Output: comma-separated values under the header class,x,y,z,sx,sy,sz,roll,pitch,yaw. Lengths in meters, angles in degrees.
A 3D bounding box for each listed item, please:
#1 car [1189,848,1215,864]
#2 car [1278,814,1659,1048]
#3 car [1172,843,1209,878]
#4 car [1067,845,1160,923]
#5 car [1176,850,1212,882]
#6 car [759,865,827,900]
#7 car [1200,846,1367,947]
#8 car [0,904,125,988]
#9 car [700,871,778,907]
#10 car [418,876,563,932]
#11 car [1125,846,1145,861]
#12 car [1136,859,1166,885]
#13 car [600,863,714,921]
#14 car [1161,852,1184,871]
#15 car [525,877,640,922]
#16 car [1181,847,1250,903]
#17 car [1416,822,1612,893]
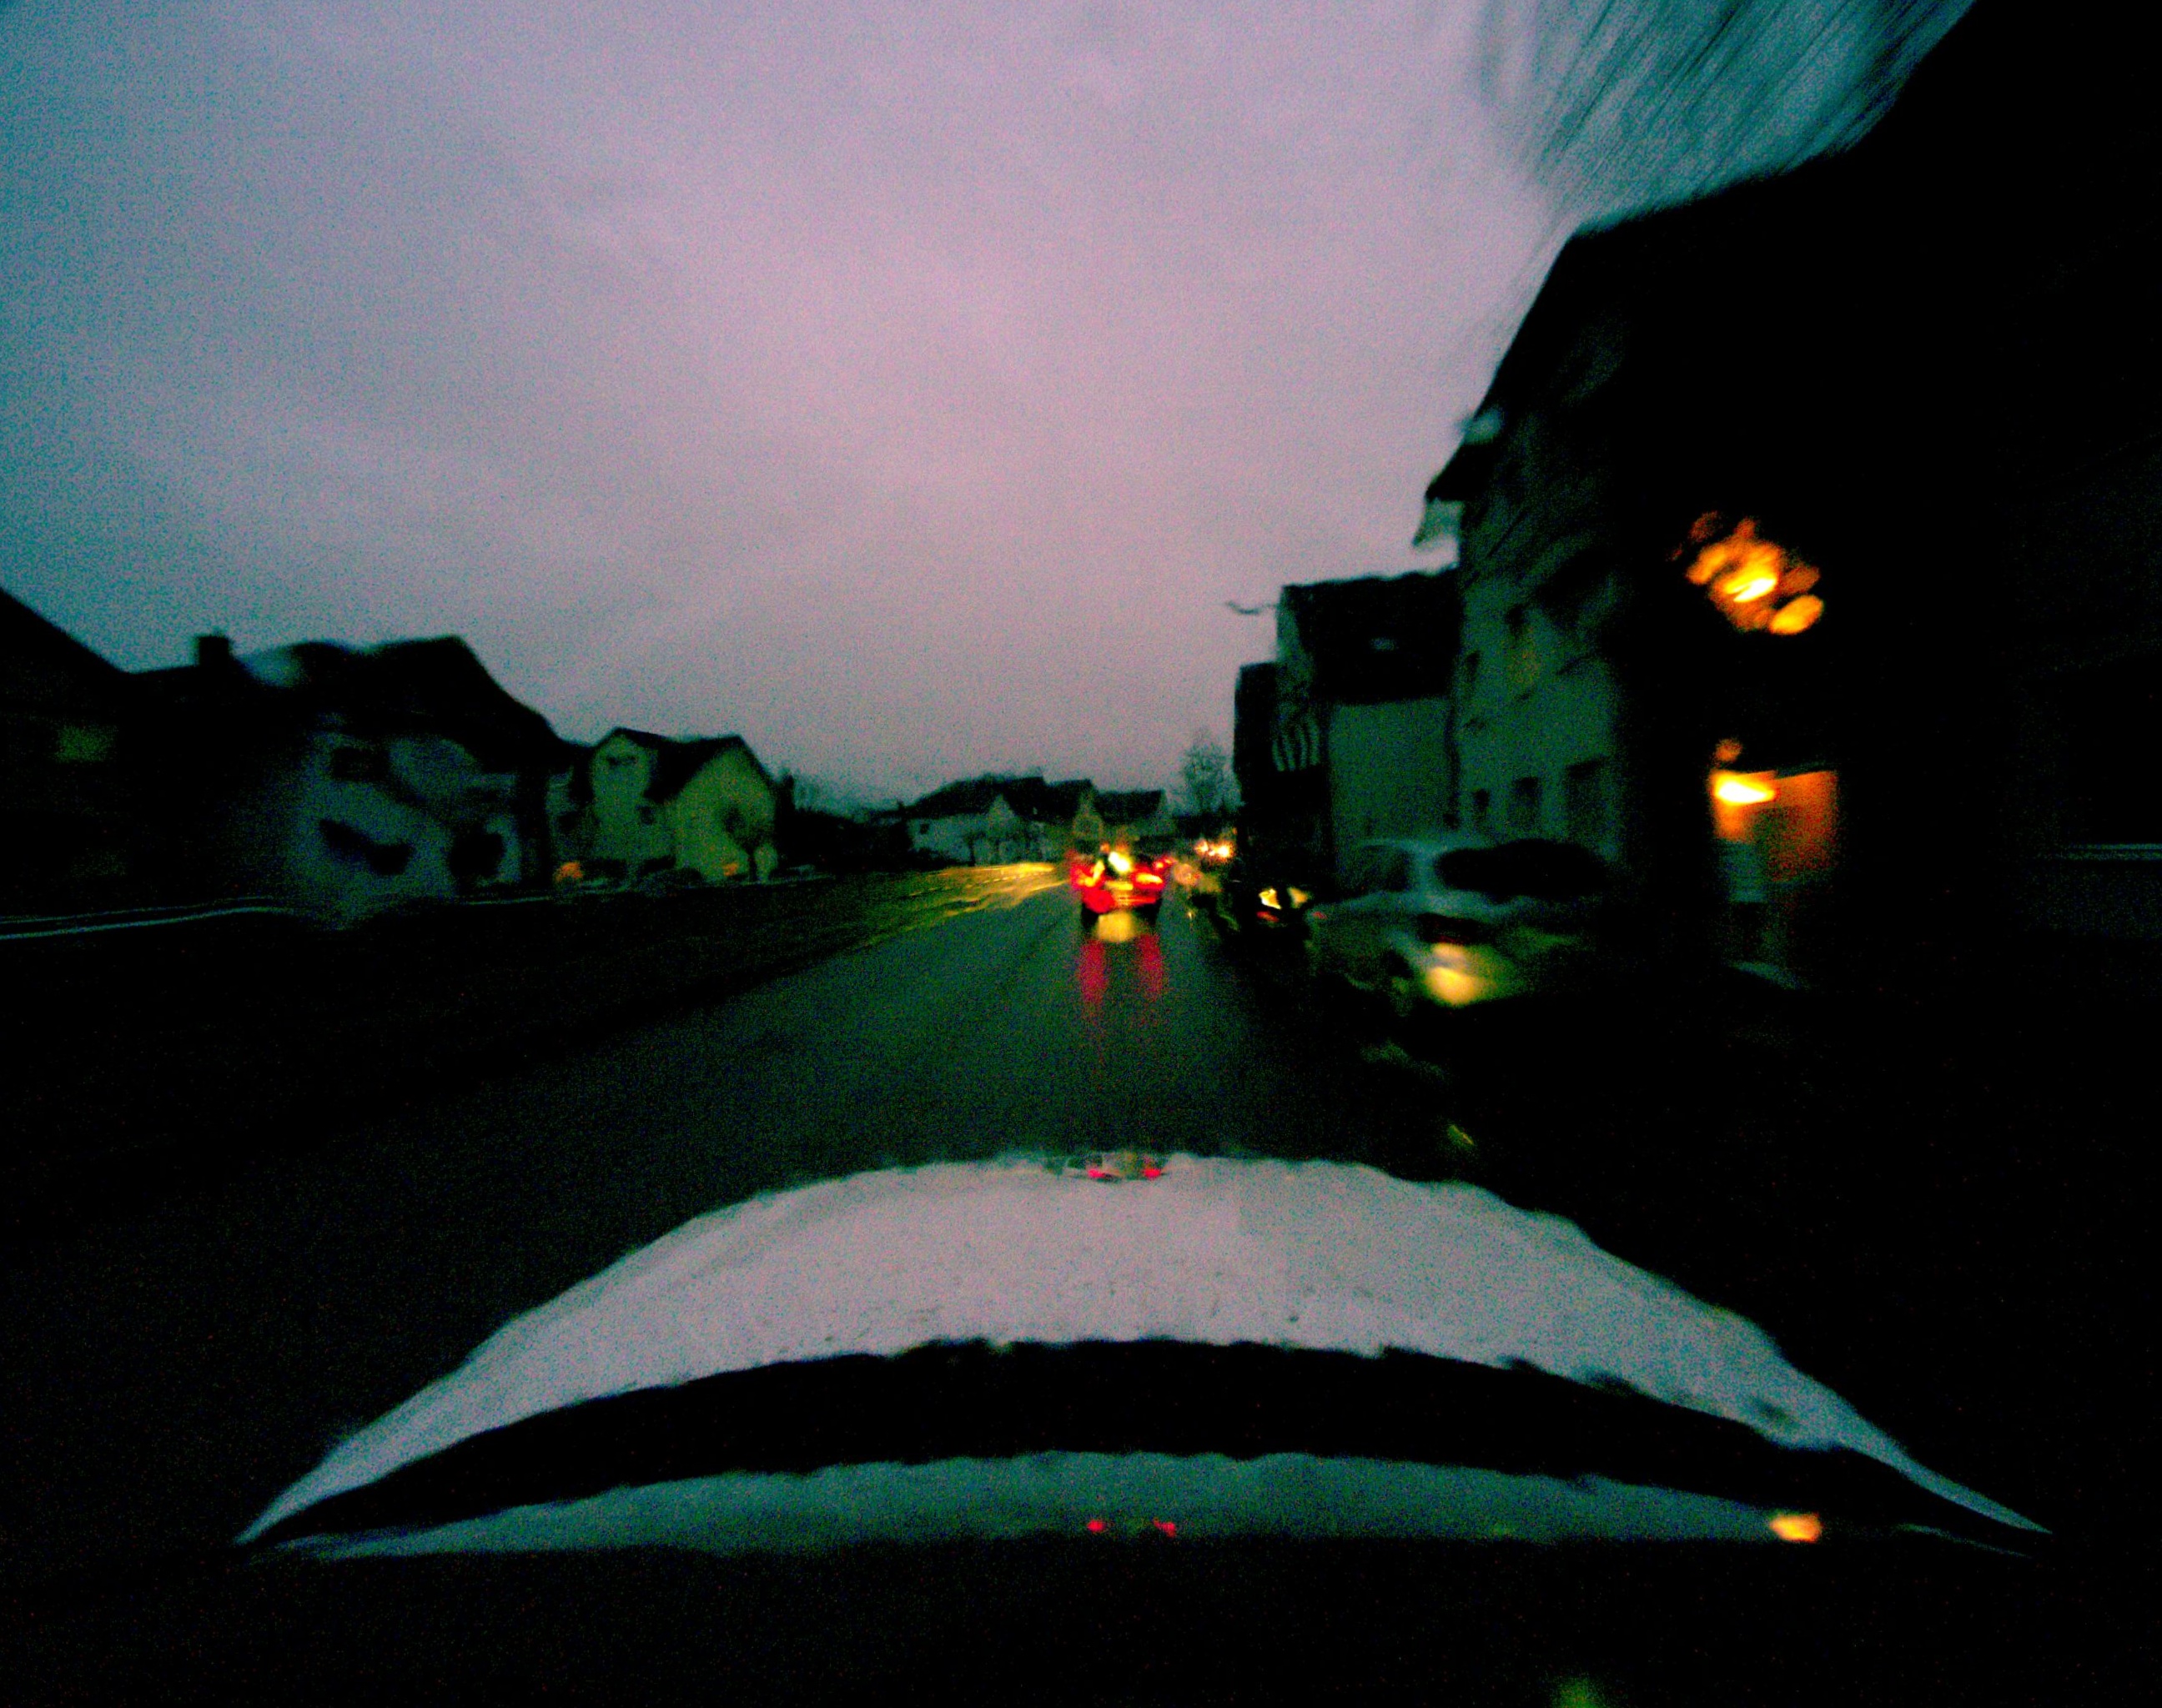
class,x,y,z,sx,sy,sz,roll,pitch,yaw
car,12.335,0.207,83.021,1.978,1.391,4.018,-3,0,17
car,3.290,0.556,8.028,1.658,1.576,4.498,-3,0,2
car,6.414,0.356,47.409,1.758,1.782,4.013,-5,0,11
car,0.701,0.627,19.718,1.958,1.594,4.313,-2,1,0
car,5.737,0.573,41.624,1.636,1.415,2.733,-5,0,7
car,-17.525,1.726,49.813,1.863,1.778,4.513,-4,0,9
car,3.446,0.649,14.895,1.949,1.532,5.011,0,0,2
car,-21.735,1.858,15.523,1.866,1.505,4.152,-2,0,7
car,-18.486,1.876,44.292,1.863,1.598,4.235,-4,0,9
car,-20.439,1.668,28.419,1.848,1.681,4.008,0,0,7
car,7.251,-0.040,110.173,2.035,1.925,4.049,-3,0,-6
car,4.128,1.051,48.170,1.674,1.453,4.005,-1,0,5
car,-14.961,1.286,28.997,1.791,1.803,3.865,-3,-1,4
car,7.663,0.613,67.780,1.805,1.412,4.008,-2,1,7
car,-20.070,1.789,33.013,1.759,1.523,4.040,-3,-1,7
car,4.121,0.604,25.572,1.645,1.455,4.243,-5,0,4
car,11.259,0.107,21.475,4.121,1.555,1.869,-3,-1,10
